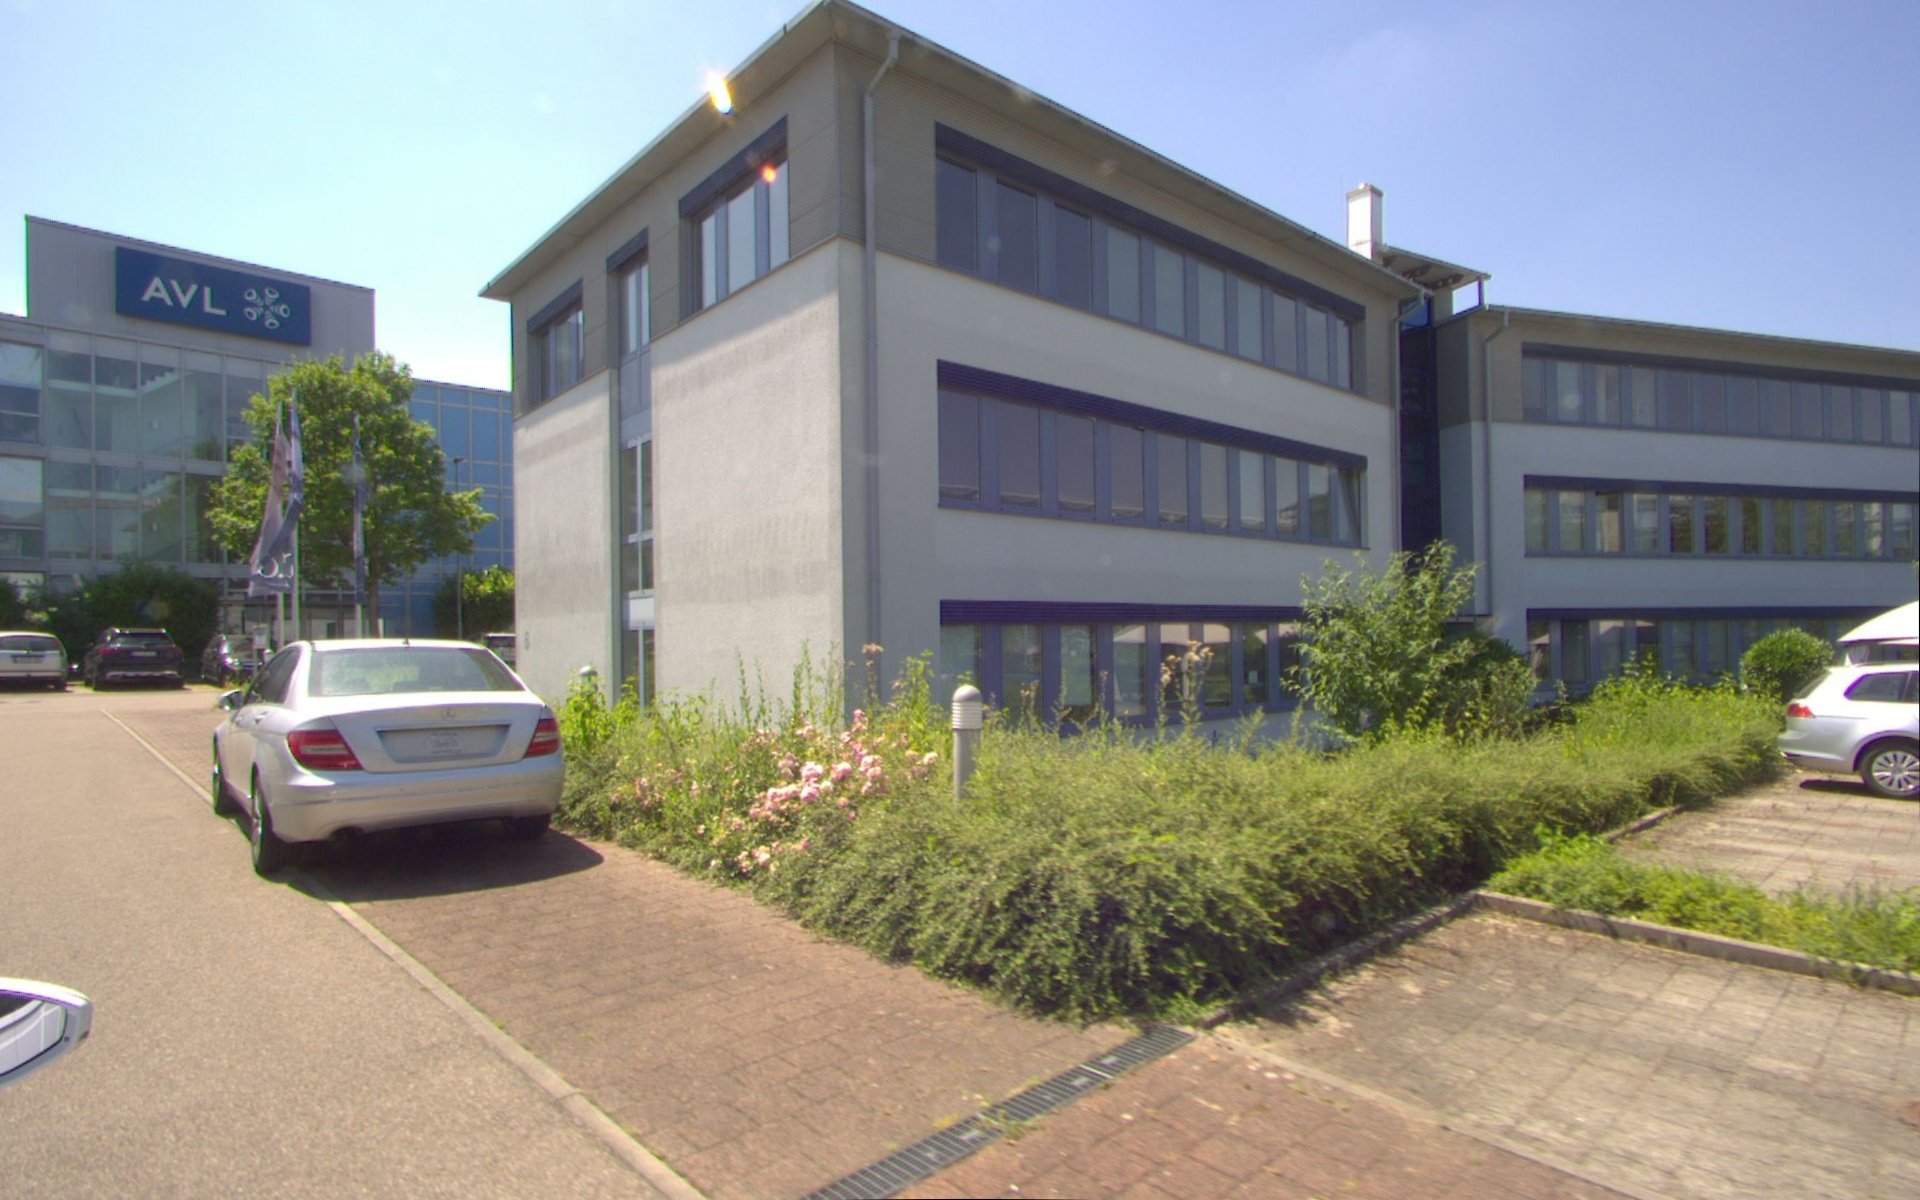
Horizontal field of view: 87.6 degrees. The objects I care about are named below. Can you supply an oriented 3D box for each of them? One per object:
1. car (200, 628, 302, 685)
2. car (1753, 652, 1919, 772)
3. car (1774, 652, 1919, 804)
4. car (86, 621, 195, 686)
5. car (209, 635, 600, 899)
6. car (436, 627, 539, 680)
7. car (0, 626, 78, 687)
[{"bbox_3d":[-20.855,1.597,29.398,4.215,1.501,1.759,-1,-2,45],"label":"car"},{"bbox_3d":[13.485,1.495,13.206,1.839,1.513,4.568,3,-3,-44],"label":"car"},{"bbox_3d":[11.288,1.352,10.288,1.839,1.539,4.384,3,-3,-44],"label":"car"},{"bbox_3d":[-22.607,1.433,27.576,3.945,1.631,1.916,-1,-3,45],"label":"car"},{"bbox_3d":[-4.460,0.989,7.661,1.786,1.416,4.383,2,-3,-40],"label":"car"},{"bbox_3d":[-16.167,1.776,34.178,4.295,1.640,1.809,-1,-1,45],"label":"car"},{"bbox_3d":[-24.505,1.437,26.089,3.611,1.467,1.758,0,-2,40],"label":"car"}]
